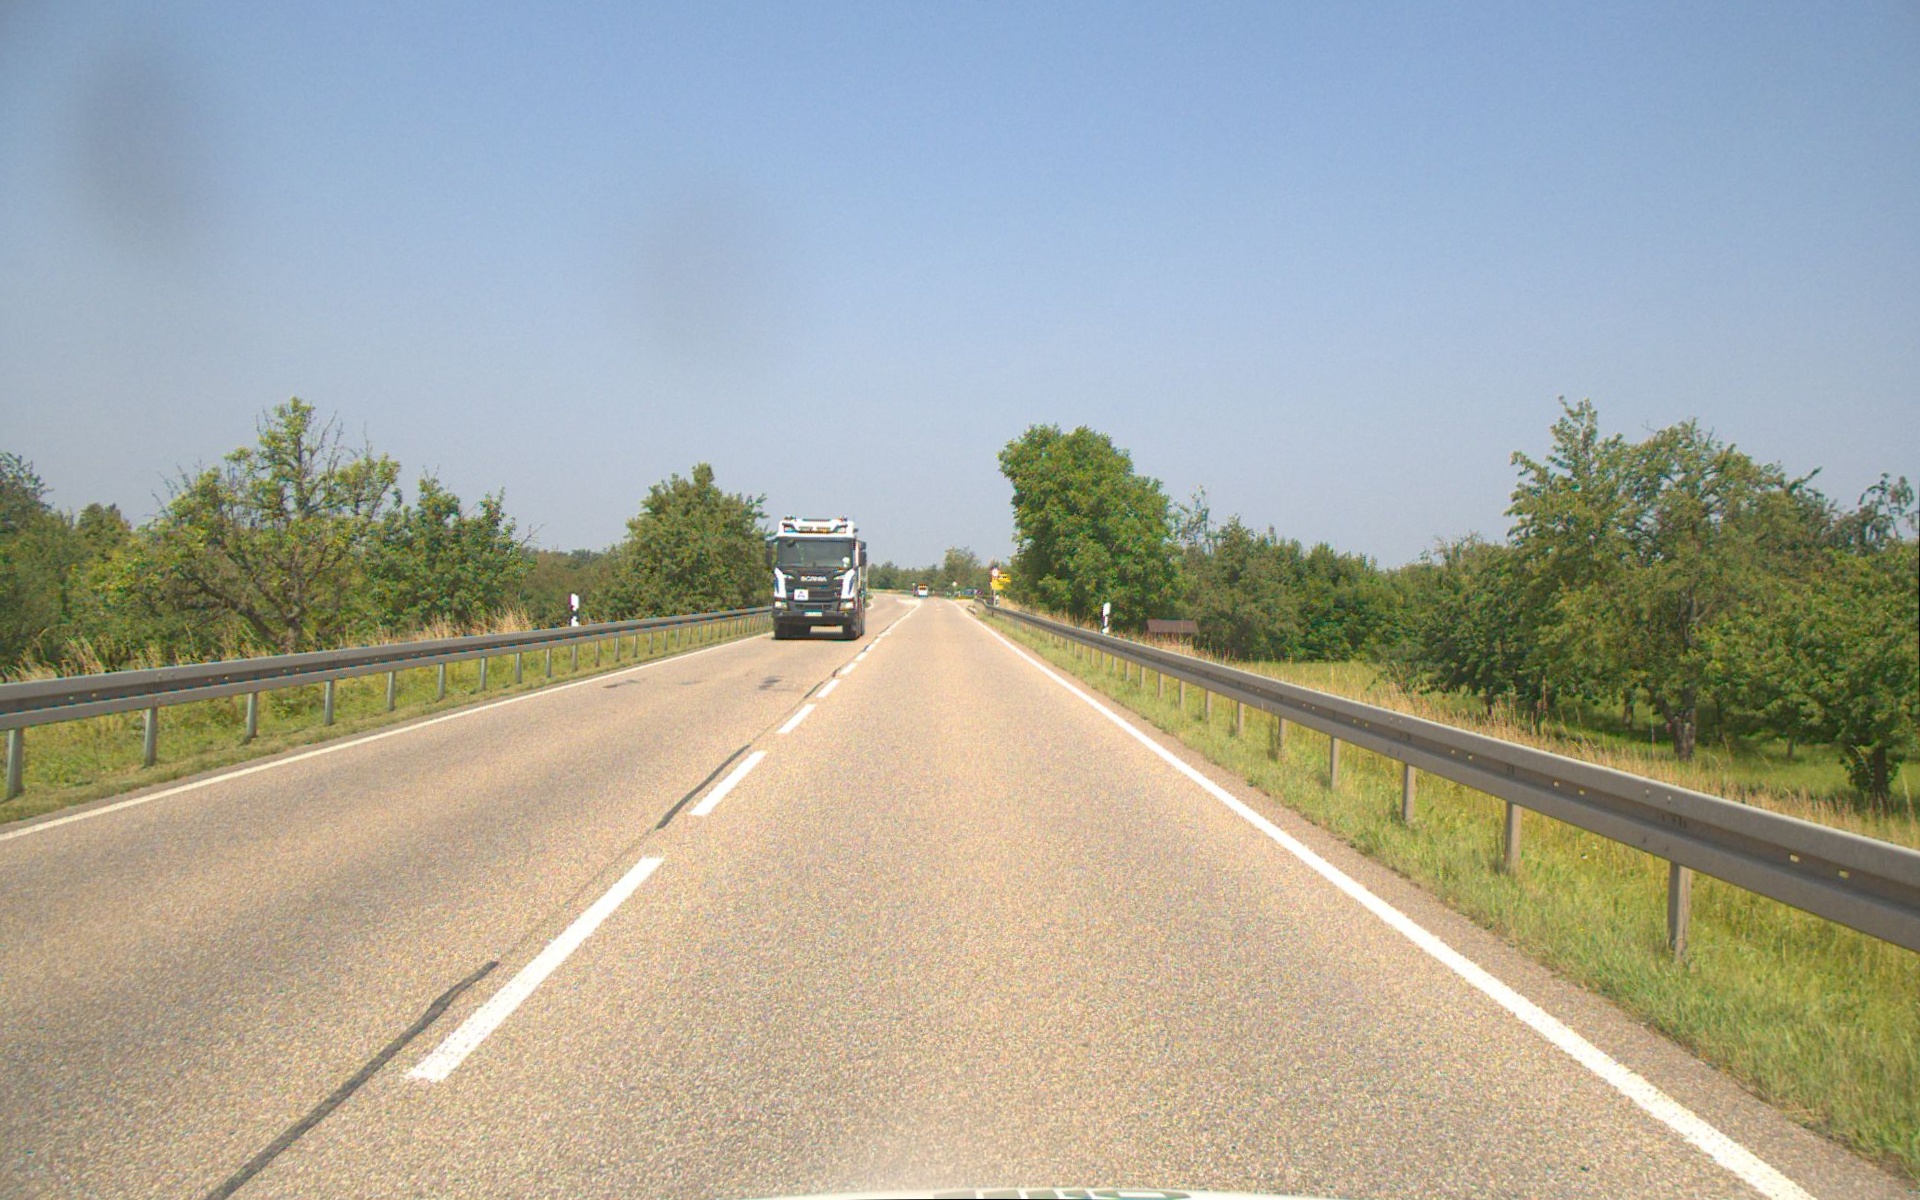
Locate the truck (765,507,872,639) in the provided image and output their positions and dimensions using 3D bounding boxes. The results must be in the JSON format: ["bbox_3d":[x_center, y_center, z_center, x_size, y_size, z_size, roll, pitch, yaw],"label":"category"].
[{"bbox_3d":[-4.285,-0.753,51.940,2.673,3.736,9.380,1,0,-1],"label":"truck"}]
